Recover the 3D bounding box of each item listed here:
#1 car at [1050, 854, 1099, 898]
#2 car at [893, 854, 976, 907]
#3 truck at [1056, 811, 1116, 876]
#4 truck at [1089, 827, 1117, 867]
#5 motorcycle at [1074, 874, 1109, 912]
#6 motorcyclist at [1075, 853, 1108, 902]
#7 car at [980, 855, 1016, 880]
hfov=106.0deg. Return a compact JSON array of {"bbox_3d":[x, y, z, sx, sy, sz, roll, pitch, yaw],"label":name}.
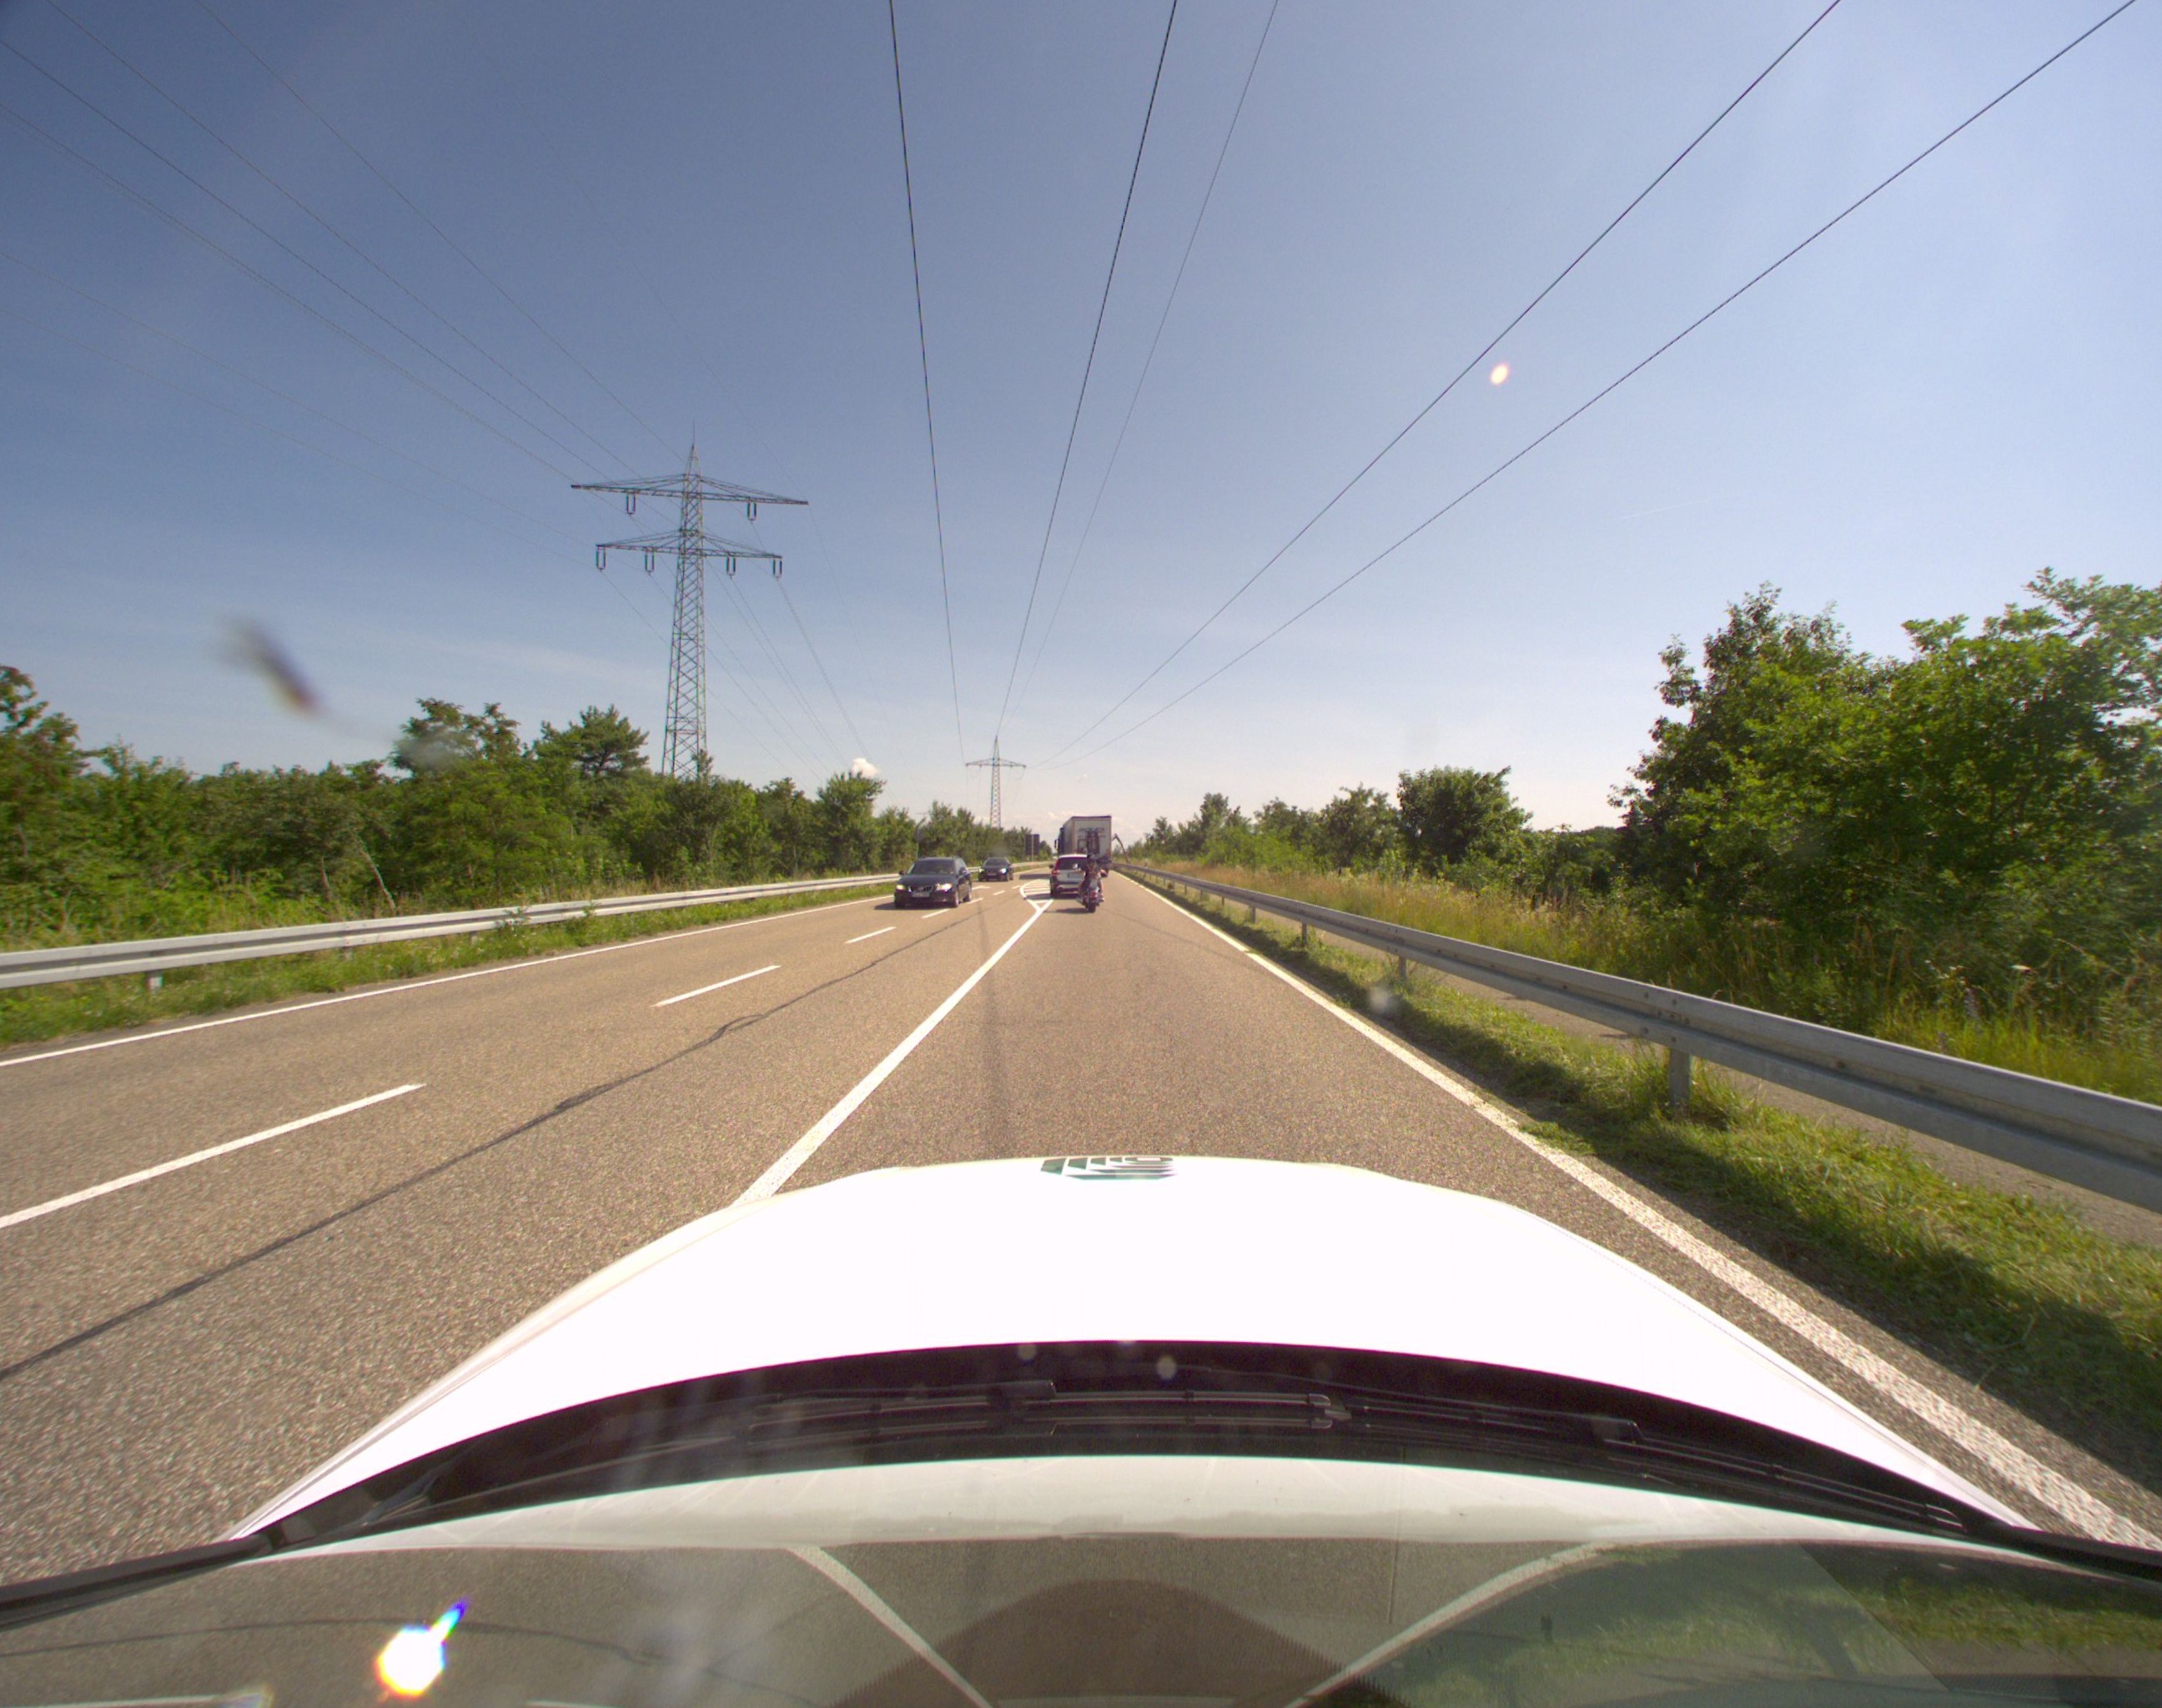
[{"bbox_3d":[-0.195,0.762,29.903,1.695,1.536,3.499,0,0,1],"label":"car"},{"bbox_3d":[-4.460,0.762,25.375,1.721,1.491,4.422,-1,0,0],"label":"car"},{"bbox_3d":[0.108,-0.681,59.924,2.963,4.187,14.794,0,0,-5],"label":"truck"},{"bbox_3d":[2.095,-0.662,80.444,2.605,3.711,6.776,0,0,0],"label":"truck"},{"bbox_3d":[0.268,1.026,22.014,0.856,0.915,2.226,-1,0,-1],"label":"motorcycle"},{"bbox_3d":[0.278,0.628,21.999,0.835,1.280,0.919,0,0,-2],"label":"motorcyclist"},{"bbox_3d":[-5.028,0.796,49.675,1.653,1.442,4.215,-1,0,1],"label":"car"}]
